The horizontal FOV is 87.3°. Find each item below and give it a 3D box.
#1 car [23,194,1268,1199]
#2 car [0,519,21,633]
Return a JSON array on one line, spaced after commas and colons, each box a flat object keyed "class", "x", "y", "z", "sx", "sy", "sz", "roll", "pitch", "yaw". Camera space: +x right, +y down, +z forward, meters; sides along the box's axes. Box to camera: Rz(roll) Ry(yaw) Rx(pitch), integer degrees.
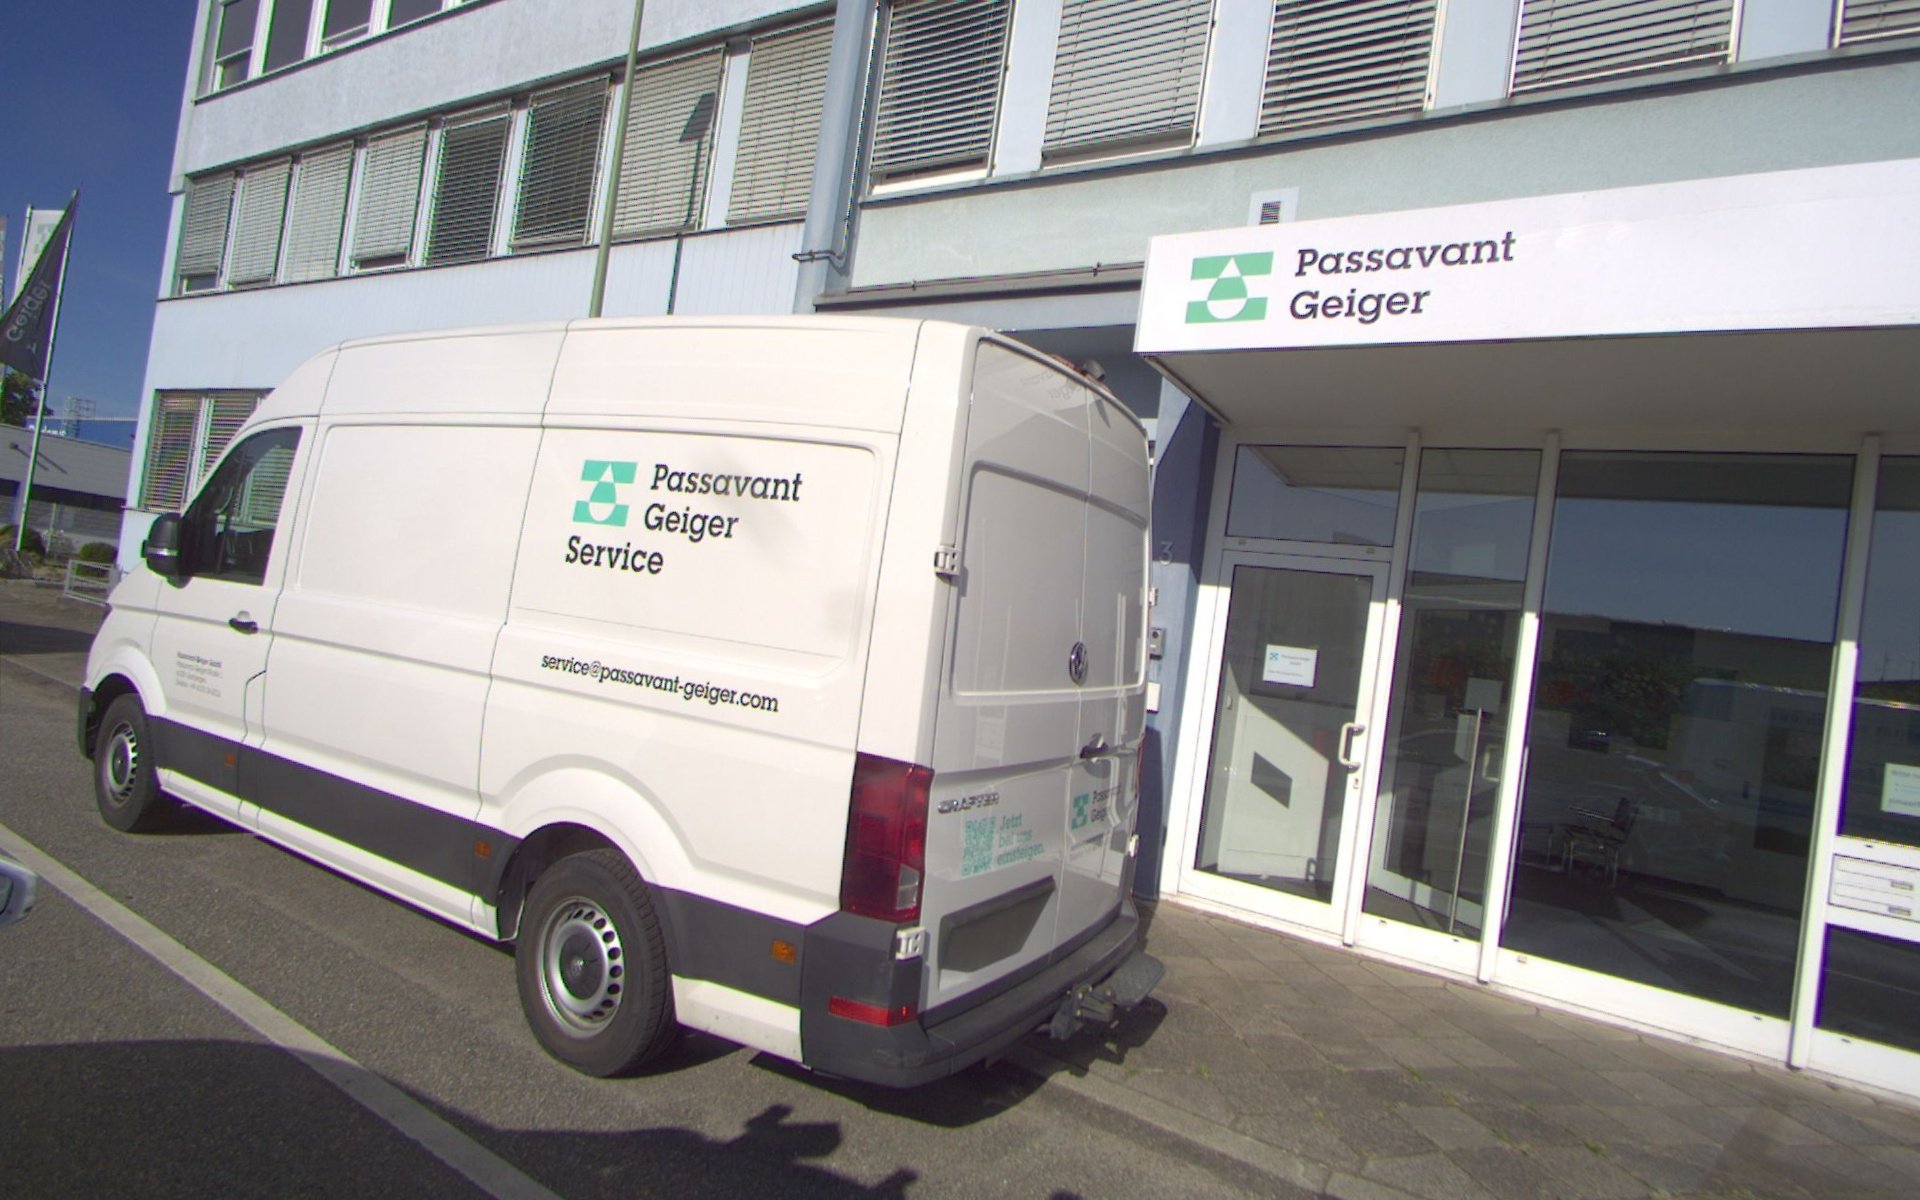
[{"class": "car", "x": -1.935, "y": 0.077, "z": 4.812, "sx": 5.949, "sy": 2.629, "sz": 1.997, "roll": 8, "pitch": 0, "yaw": 31}, {"class": "car", "x": -11.891, "y": -0.419, "z": 10.324, "sx": 5.039, "sy": 1.419, "sz": 1.900, "roll": 6, "pitch": -5, "yaw": 32}]
